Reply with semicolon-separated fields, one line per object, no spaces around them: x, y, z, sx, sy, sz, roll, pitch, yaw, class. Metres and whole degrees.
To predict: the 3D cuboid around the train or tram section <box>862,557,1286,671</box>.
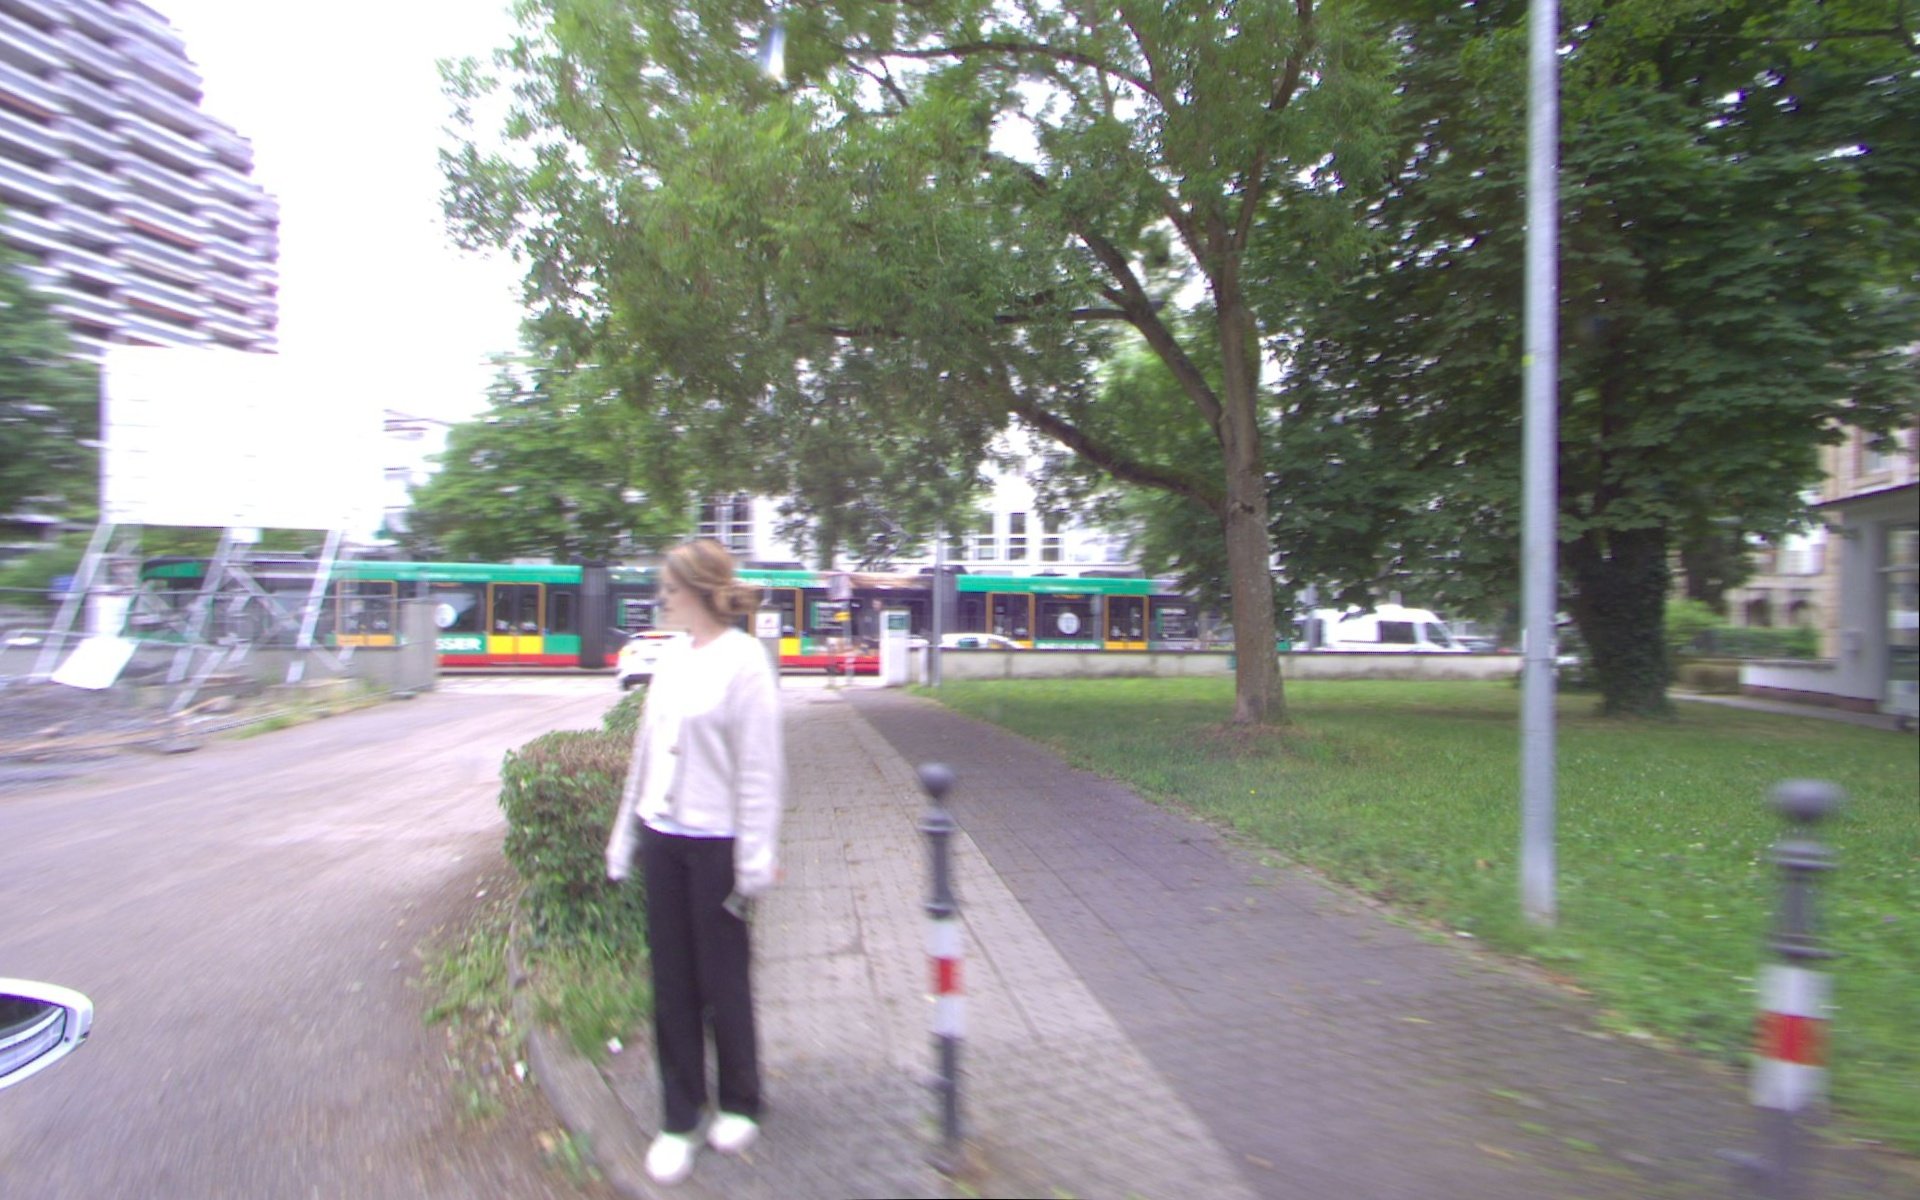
3.994;0.572;34.732;14.496;3.661;2.666;1;-1;-12;train or tram section

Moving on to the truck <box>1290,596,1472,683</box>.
13.014;1.214;31.098;4.836;2.579;2.168;1;-1;-11;truck

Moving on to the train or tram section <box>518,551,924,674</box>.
-7.404;0.469;32.364;12.226;3.661;2.666;1;-1;-12;train or tram section

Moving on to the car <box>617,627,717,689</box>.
-7.366;1.502;25.556;1.747;1.450;3.982;0;-4;-6;car

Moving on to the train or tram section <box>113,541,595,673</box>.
-17.712;0.296;30.276;12.226;3.661;2.666;1;-1;-12;train or tram section

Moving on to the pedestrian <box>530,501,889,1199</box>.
-0.680;0.697;2.679;0.742;1.804;0.659;1;-1;-34;pedestrian

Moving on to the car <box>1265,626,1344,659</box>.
16.447;2.015;47.837;3.344;1.492;1.408;-1;-1;35;car

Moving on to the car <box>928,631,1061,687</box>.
0.964;1.688;28.684;3.527;1.520;1.665;1;-1;-11;car

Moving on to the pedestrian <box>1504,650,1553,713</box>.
16.218;2.307;28.579;0.939;1.740;0.807;1;-1;-18;pedestrian

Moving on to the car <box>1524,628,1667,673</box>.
20.540;1.624;32.423;3.741;1.371;1.811;1;-1;-12;car
